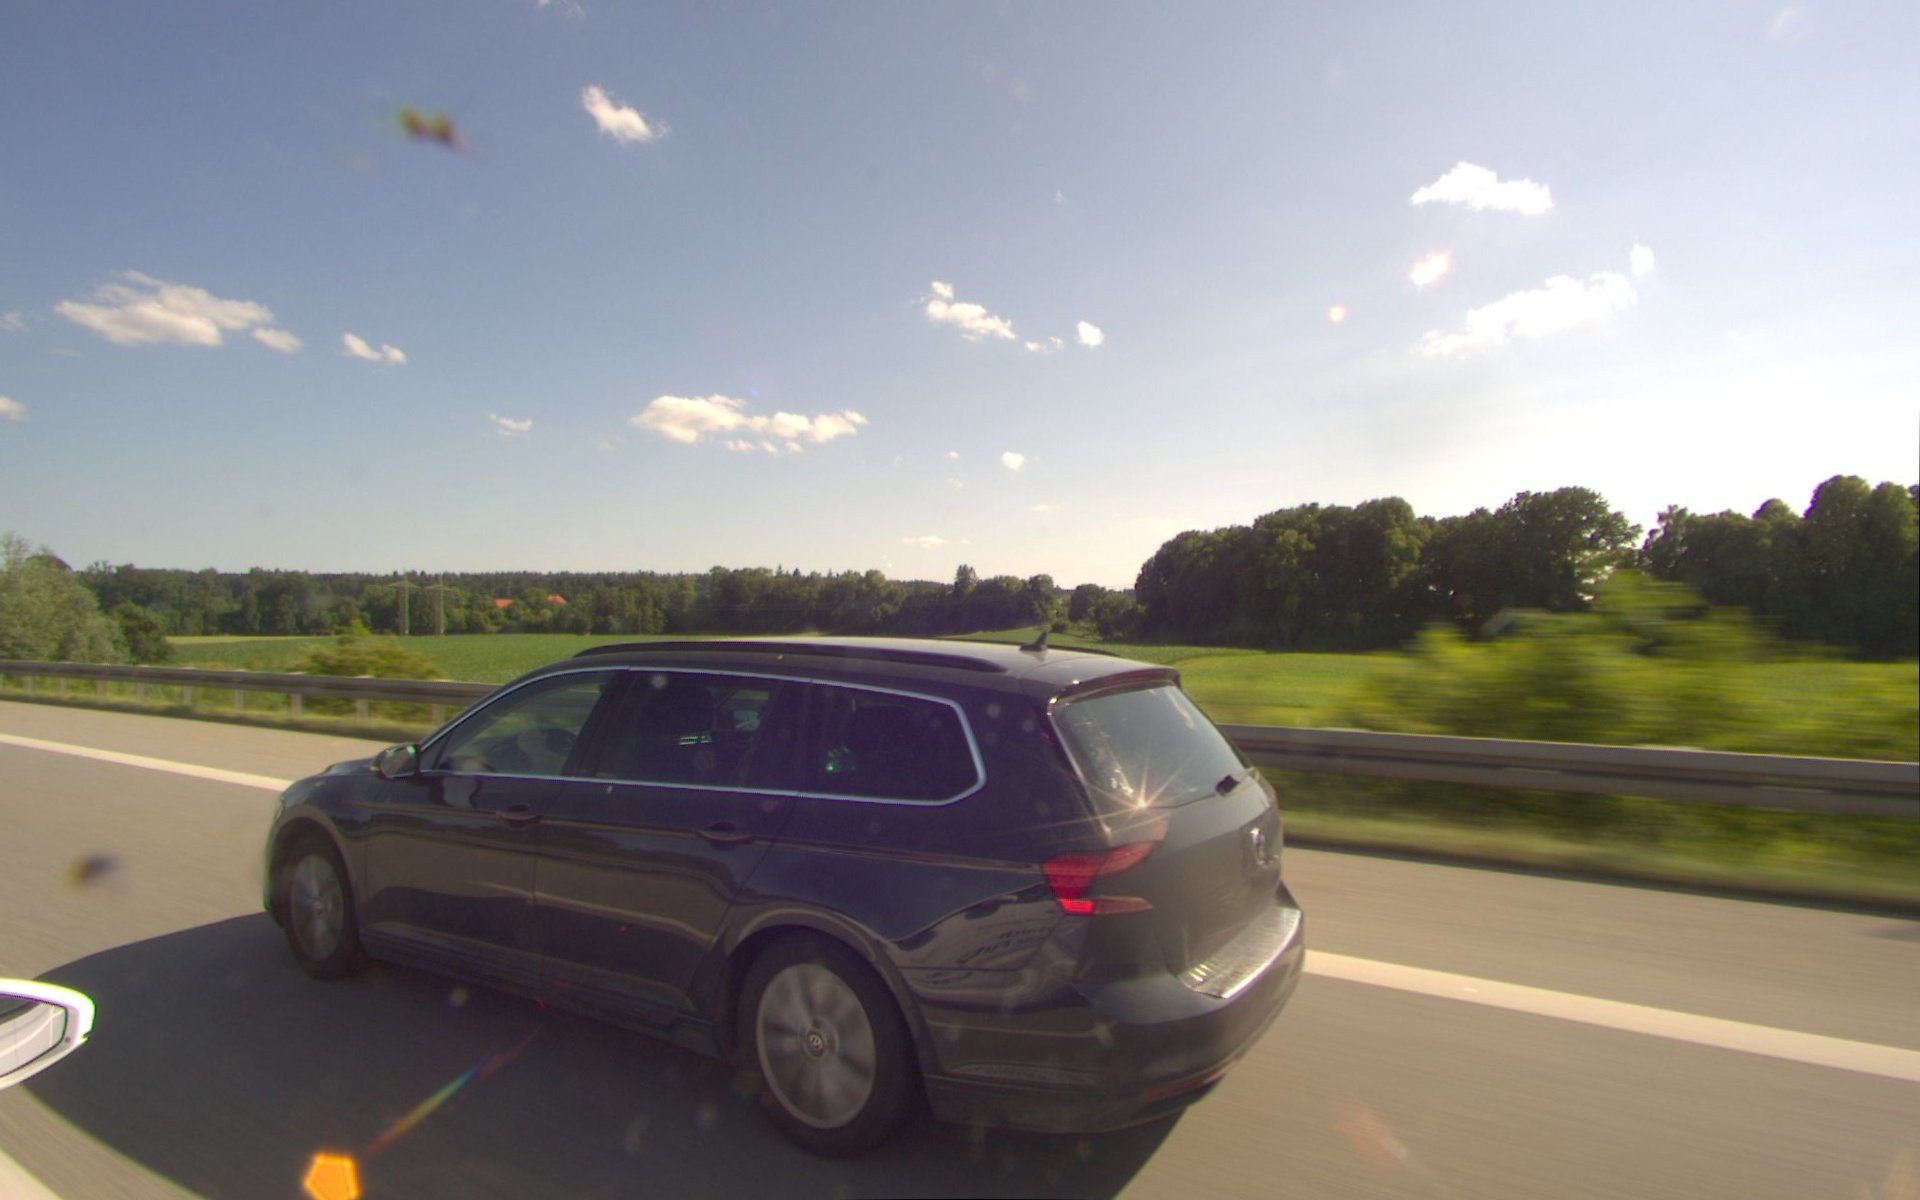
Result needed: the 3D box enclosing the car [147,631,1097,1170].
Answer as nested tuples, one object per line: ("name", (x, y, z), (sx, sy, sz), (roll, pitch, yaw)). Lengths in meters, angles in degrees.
("car", (-1.727, 0.896, 4.560), (4.350, 1.416, 1.717), (-1, -4, 32))
